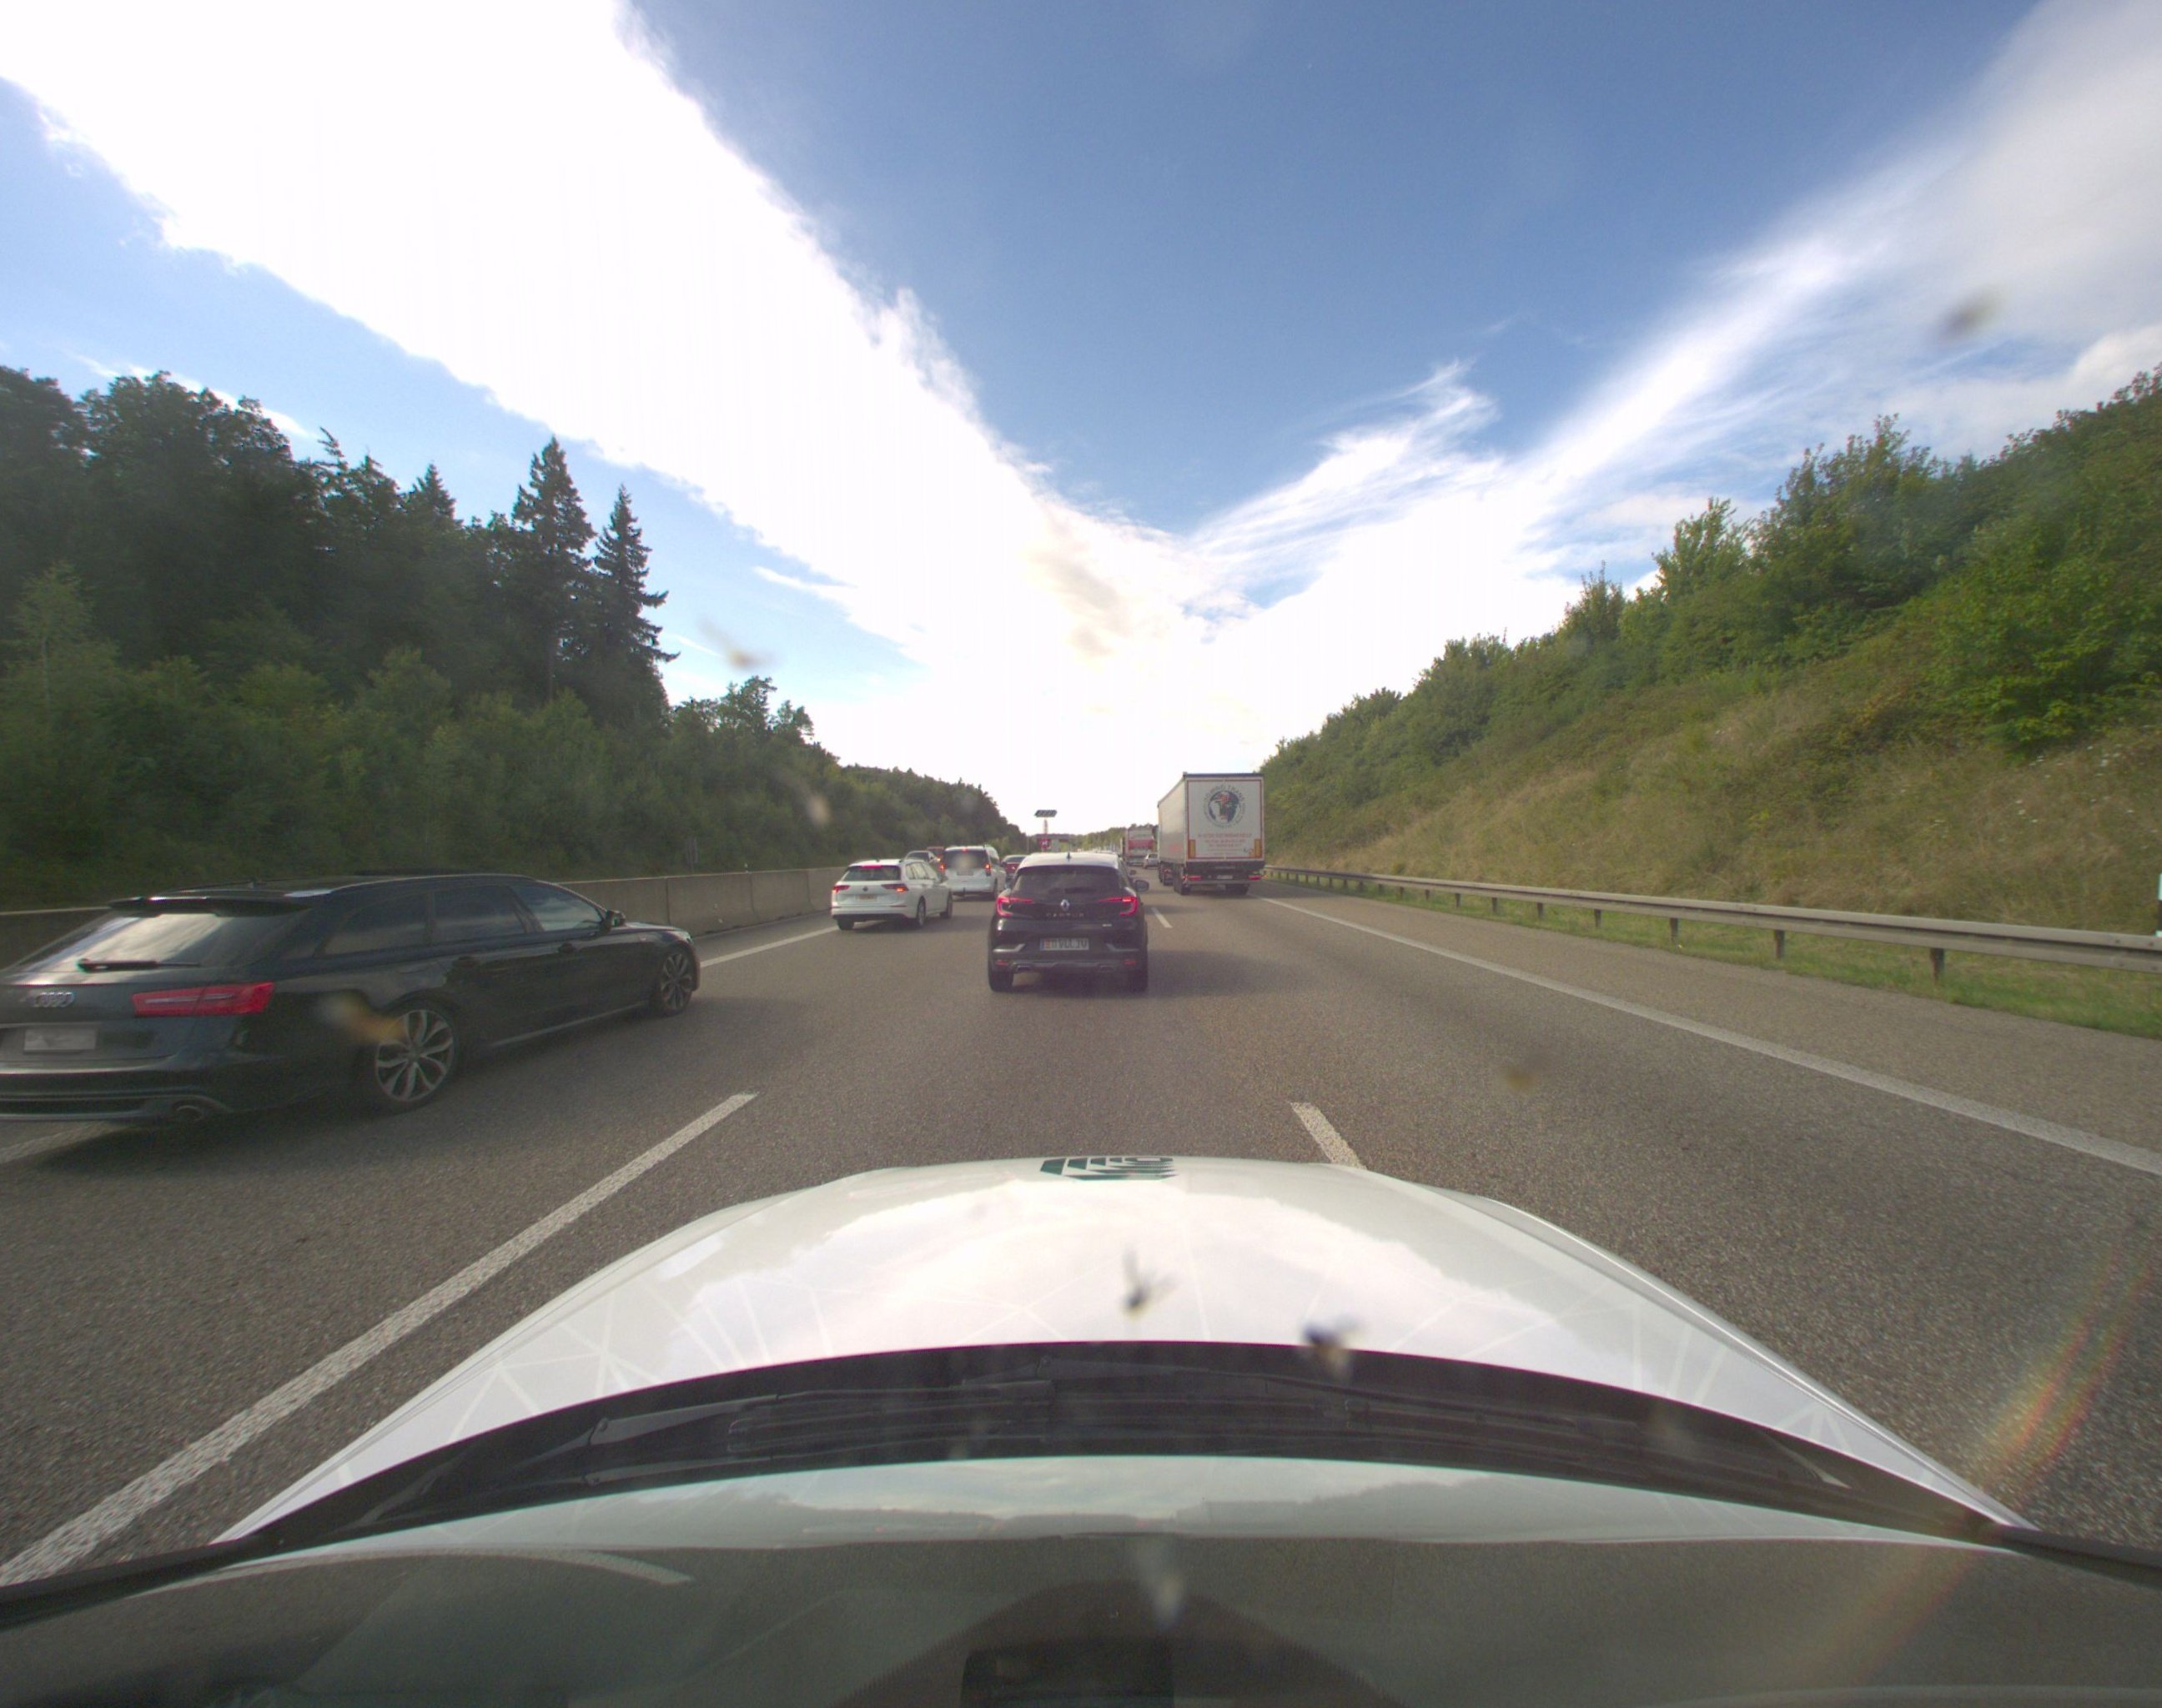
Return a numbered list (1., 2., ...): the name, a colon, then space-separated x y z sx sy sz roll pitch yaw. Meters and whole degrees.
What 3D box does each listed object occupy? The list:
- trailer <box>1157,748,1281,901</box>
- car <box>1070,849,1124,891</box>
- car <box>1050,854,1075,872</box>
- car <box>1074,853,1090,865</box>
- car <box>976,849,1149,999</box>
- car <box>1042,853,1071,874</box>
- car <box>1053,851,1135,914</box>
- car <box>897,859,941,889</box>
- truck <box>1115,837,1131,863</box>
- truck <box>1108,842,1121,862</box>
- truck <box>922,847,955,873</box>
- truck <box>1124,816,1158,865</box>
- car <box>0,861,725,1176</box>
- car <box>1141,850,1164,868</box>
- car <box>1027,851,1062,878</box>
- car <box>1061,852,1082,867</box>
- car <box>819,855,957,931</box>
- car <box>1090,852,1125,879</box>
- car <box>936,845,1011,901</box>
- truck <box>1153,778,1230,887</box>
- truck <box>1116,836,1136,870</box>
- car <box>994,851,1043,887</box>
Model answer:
1. trailer: 4.823 -0.916 31.484 2.990 4.661 13.296 -1 0 2
2. car: 0.680 0.613 32.027 1.985 1.514 4.003 0 0 3
3. car: -1.666 0.822 73.663 1.985 1.613 4.003 0 0 3
4. car: 0.177 0.623 113.979 1.985 1.613 4.003 -1 0 3
5. car: -0.033 0.740 10.547 1.796 1.552 4.005 -1 0 5
6. car: -1.940 0.769 66.130 1.985 1.613 4.003 0 0 3
7. car: 0.415 0.717 21.967 1.985 1.514 4.003 0 0 3
8. car: -10.607 1.283 53.697 1.845 1.810 4.627 0 0 2
9. truck: 9.288 -0.811 180.691 3.152 5.505 12.752 0 0 4
10. truck: 8.890 -0.493 213.756 3.153 5.159 12.747 0 0 3
11. truck: -16.028 0.637 92.067 2.413 2.855 6.433 0 0 2
12. truck: 6.482 -1.339 89.629 3.351 5.044 12.747 0 0 3
13. car: -4.812 0.816 6.302 1.835 1.456 4.751 0 0 3
14. car: 6.455 0.454 73.654 1.798 1.533 3.926 0 0 1
15. car: -2.368 0.683 53.901 1.985 1.722 4.003 0 0 3
16. car: -1.009 0.566 88.334 1.985 1.613 4.003 -1 0 3
17. car: -4.098 0.780 18.060 1.797 1.461 4.312 -1 0 3
18. car: 1.621 0.661 48.477 1.985 1.514 4.003 0 0 3
19. car: -3.630 0.638 28.351 1.905 1.789 4.418 0 0 1
20. truck: 5.059 -0.941 38.393 2.986 4.667 5.942 -1 0 2
21. truck: 7.711 -0.090 138.598 3.153 5.505 12.747 0 0 3
22. car: -3.000 0.717 39.834 1.848 1.641 3.929 0 0 3
